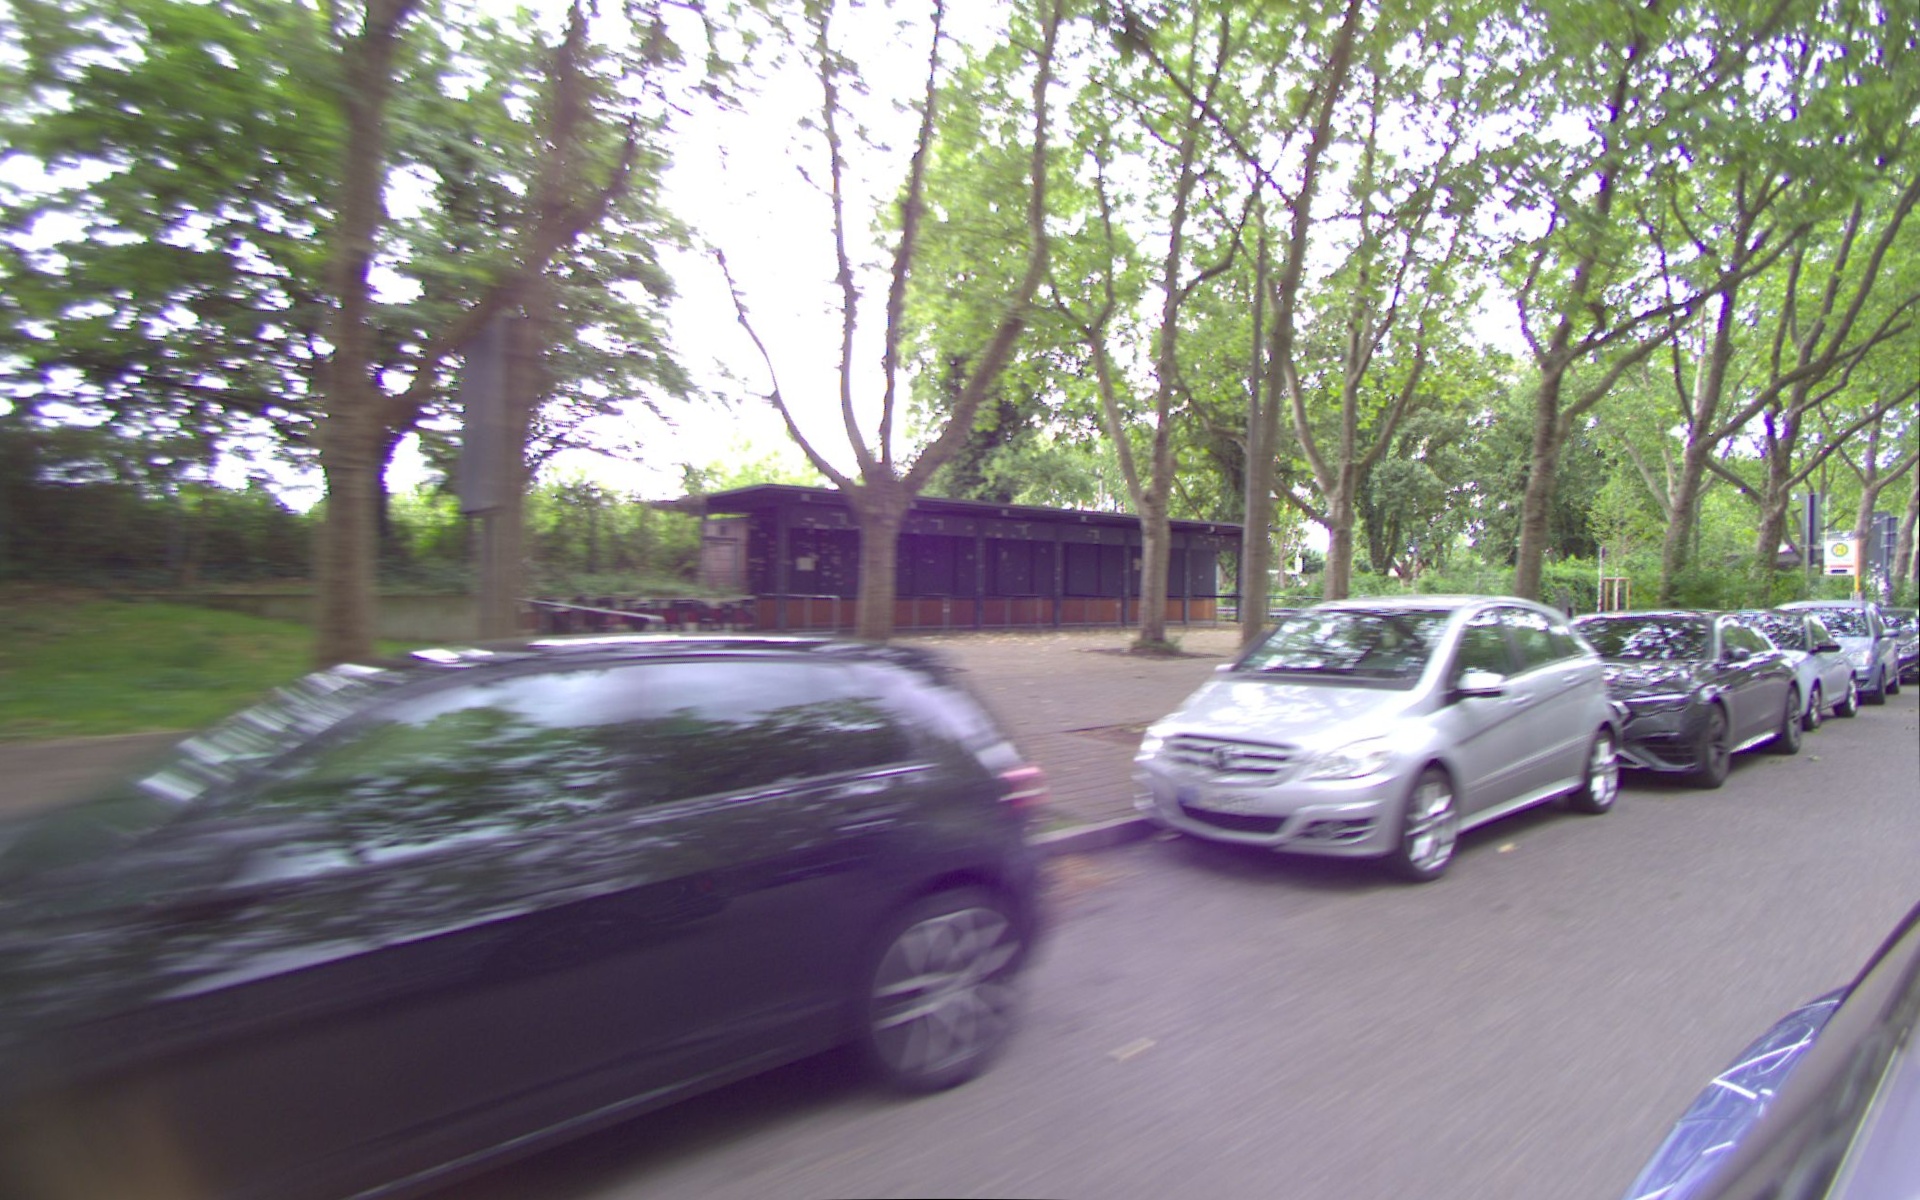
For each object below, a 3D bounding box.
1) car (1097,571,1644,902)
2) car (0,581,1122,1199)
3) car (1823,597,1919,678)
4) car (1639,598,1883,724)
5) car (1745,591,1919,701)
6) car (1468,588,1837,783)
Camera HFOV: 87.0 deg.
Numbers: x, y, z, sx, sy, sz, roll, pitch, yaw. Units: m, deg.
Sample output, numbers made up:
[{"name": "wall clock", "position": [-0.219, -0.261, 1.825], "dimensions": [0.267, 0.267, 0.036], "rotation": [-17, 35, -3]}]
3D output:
[{"name": "car", "position": [3.026, 0.685, 7.043], "dimensions": [4.149, 1.638, 1.782], "rotation": [0, -1, -40]}, {"name": "car", "position": [-1.558, 0.727, 3.009], "dimensions": [4.076, 1.490, 1.742], "rotation": [0, -1, -39]}, {"name": "car", "position": [18.985, 0.701, 20.486], "dimensions": [4.009, 1.488, 1.732], "rotation": [0, -1, -41]}, {"name": "car", "position": [10.805, 0.713, 13.562], "dimensions": [4.007, 1.439, 1.733], "rotation": [0, -1, -39]}, {"name": "car", "position": [14.468, 0.684, 16.672], "dimensions": [4.010, 1.590, 1.732], "rotation": [0, -1, -42]}, {"name": "car", "position": [7.017, 0.668, 10.020], "dimensions": [4.894, 1.496, 1.733], "rotation": [0, -1, -40]}]
